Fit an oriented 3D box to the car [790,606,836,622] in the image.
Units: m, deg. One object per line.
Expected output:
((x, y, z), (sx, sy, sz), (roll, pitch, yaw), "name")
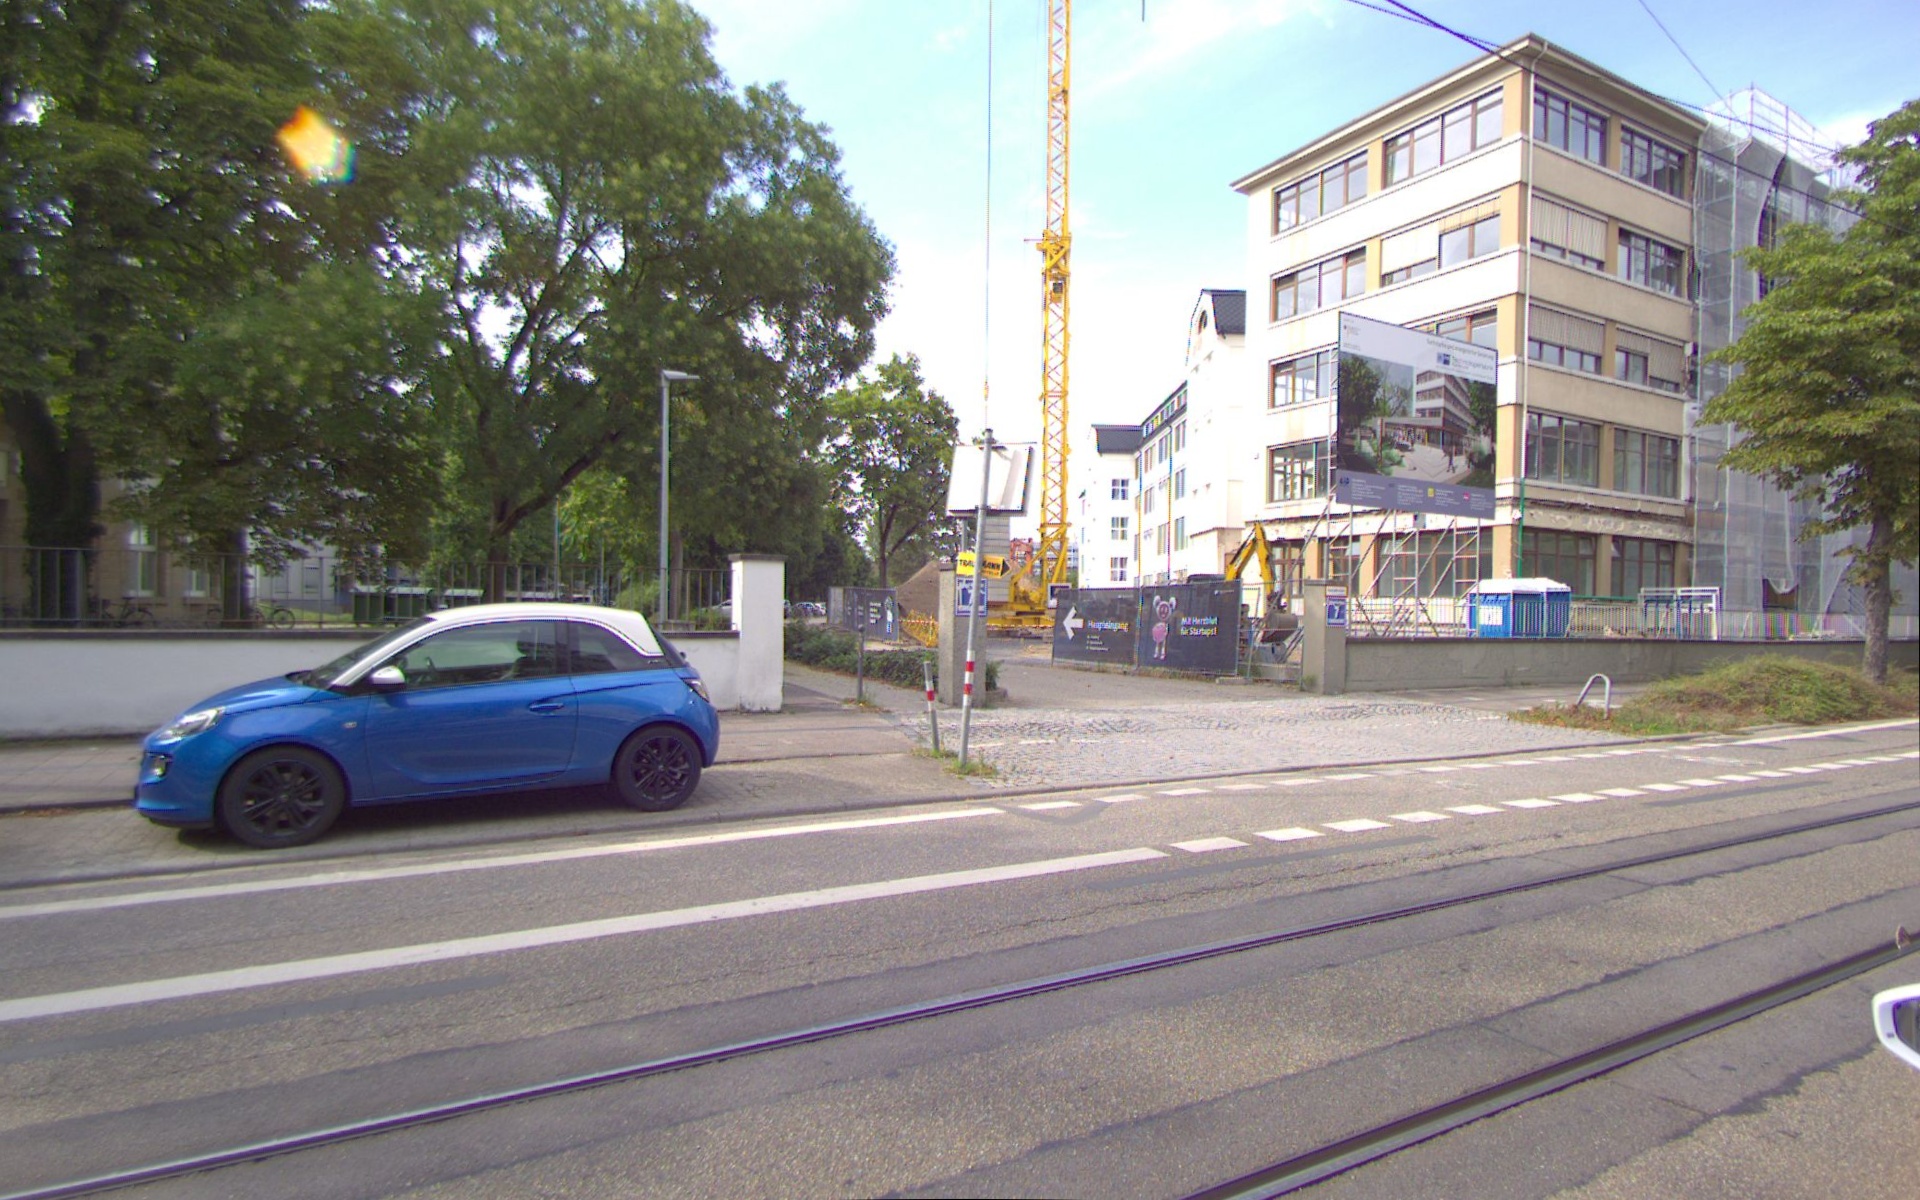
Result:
((-15.505, 1.466, 105.873), (4.719, 1.508, 1.997), (2, 0, -8), "car")

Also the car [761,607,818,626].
((-14.538, 1.436, 85.989), (4.719, 1.508, 1.997), (2, 0, -8), "car")

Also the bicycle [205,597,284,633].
((-22.077, 0.468, 30.996), (1.940, 1.057, 0.594), (1, 1, -4), "bicycle")

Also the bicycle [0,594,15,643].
((-21.830, 0.384, 21.816), (1.940, 1.057, 0.594), (1, 1, -4), "bicycle")

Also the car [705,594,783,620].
((-13.828, 0.449, 64.598), (4.719, 1.508, 1.997), (2, 0, -8), "car")

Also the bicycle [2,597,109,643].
((-21.856, 0.478, 24.297), (1.940, 1.057, 0.594), (1, 1, -4), "bicycle")

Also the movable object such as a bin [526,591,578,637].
((-13.580, 0.460, 33.467), (1.259, 1.449, 1.122), (2, 0, -2), "movable object such as a bin")

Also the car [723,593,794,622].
((-15.180, 0.566, 75.889), (4.965, 1.979, 1.999), (2, 0, -4), "car")

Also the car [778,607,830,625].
((-14.695, 1.489, 94.800), (4.719, 1.508, 1.997), (2, 0, -8), "car")

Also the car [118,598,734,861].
((-3.631, 0.763, 7.306), (3.560, 1.484, 1.620), (1, 0, -30), "car")

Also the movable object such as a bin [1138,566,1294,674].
((6.286, 0.482, 24.990), (2.459, 2.475, 3.048), (2, 0, -19), "movable object such as a bin")

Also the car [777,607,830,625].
((-14.311, 1.472, 91.975), (4.719, 1.508, 1.997), (2, 0, -8), "car")

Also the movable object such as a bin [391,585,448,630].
((-18.009, 0.245, 33.506), (1.259, 1.449, 1.122), (2, 0, -2), "movable object such as a bin")

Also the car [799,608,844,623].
((-15.028, 1.636, 108.885), (4.719, 1.508, 1.997), (2, 0, -8), "car")

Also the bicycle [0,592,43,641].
((-21.913, 0.355, 22.595), (1.940, 1.057, 0.594), (1, 1, -4), "bicycle")

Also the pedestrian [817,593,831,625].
((-7.967, 0.528, 58.951), (0.736, 1.813, 0.730), (2, 0, -7), "pedestrian")

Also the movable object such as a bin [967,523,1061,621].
((4.255, -1.874, 75.037), (3.781, 6.758, 10.988), (2, 0, 20), "movable object such as a bin")

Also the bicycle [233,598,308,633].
((-22.196, 0.502, 32.350), (1.940, 1.057, 0.594), (1, 1, -4), "bicycle")

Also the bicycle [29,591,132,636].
((-21.941, 0.332, 25.077), (1.940, 1.057, 0.594), (1, 1, -4), "bicycle")

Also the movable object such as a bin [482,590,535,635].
((-15.098, 0.425, 33.632), (1.259, 1.449, 1.122), (2, 0, -2), "movable object such as a bin")

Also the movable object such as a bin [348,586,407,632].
((-19.372, 0.295, 33.442), (1.259, 1.449, 1.122), (2, 0, -2), "movable object such as a bin")

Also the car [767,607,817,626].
((-14.784, 1.466, 88.654), (4.268, 1.564, 1.751), (2, 0, -8), "car")

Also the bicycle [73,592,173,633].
((-22.343, 0.330, 26.860), (1.953, 1.057, 0.590), (1, 1, -28), "bicycle")

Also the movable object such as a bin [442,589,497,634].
((-16.436, 0.385, 33.705), (1.259, 1.449, 1.122), (2, 0, -2), "movable object such as a bin")
